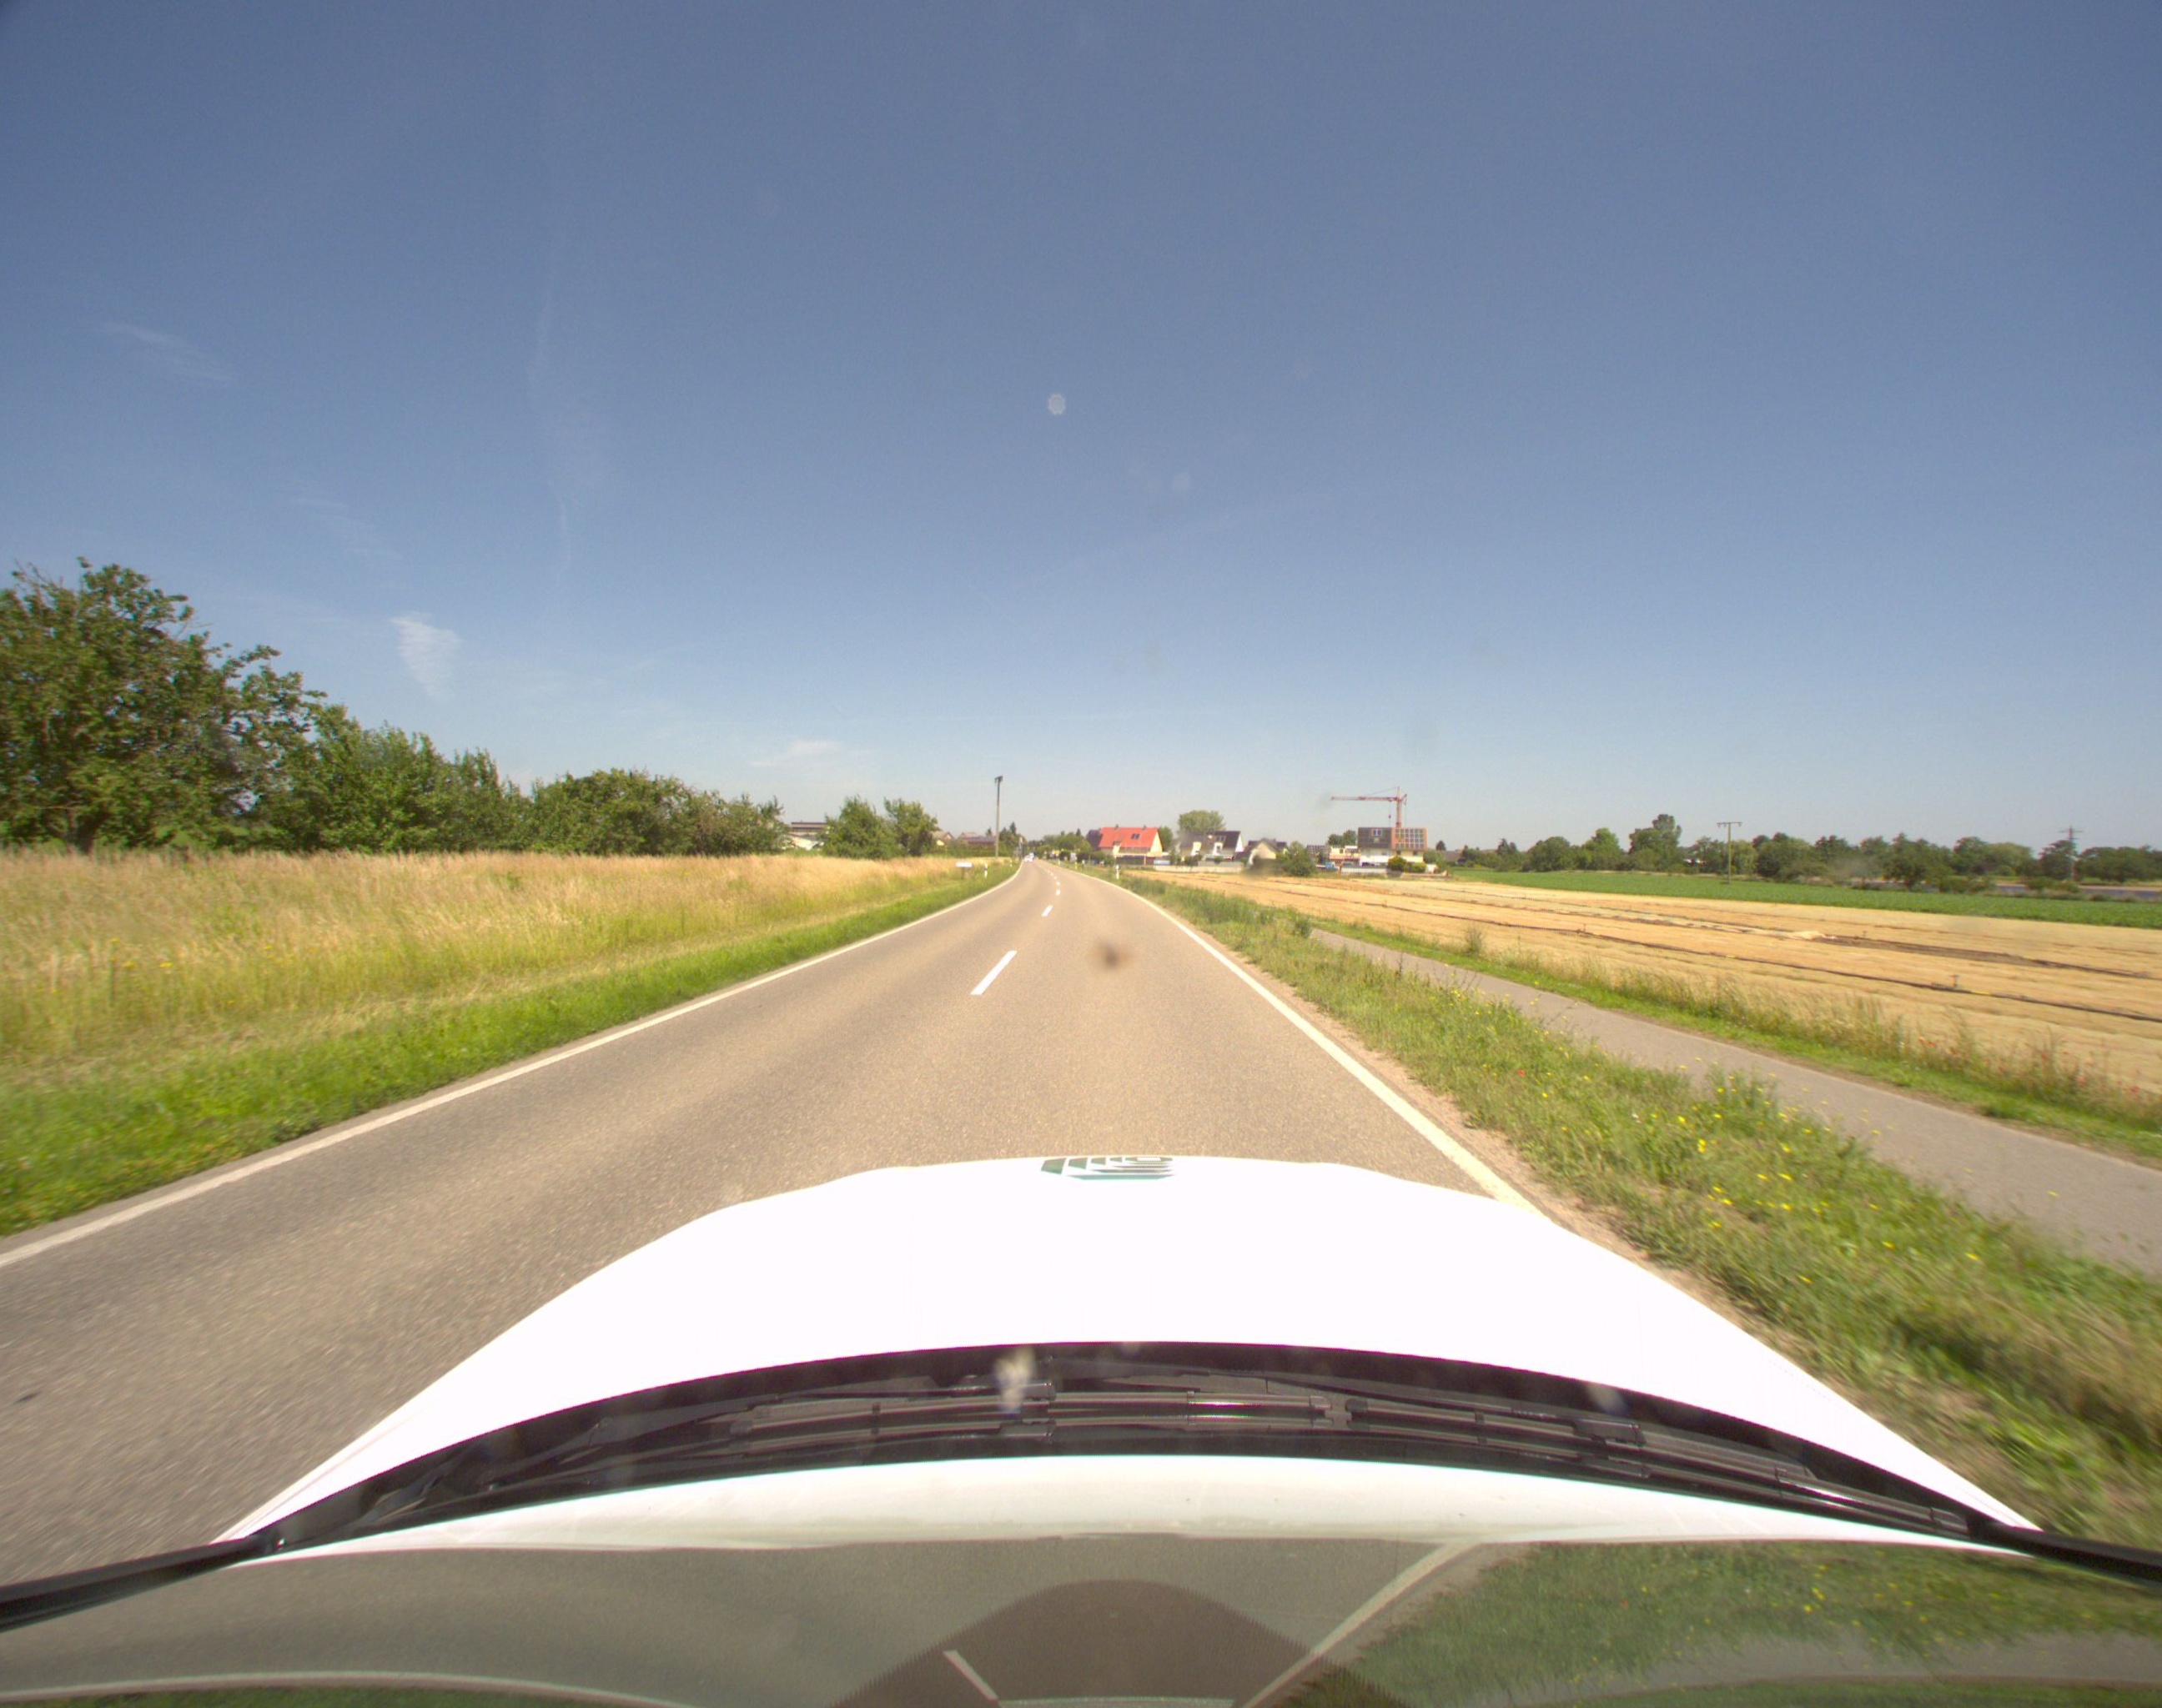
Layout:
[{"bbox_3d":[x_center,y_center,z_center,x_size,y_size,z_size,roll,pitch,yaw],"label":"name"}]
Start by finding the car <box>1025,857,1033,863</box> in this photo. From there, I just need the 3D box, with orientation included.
[{"bbox_3d":[-12.525,1.331,195.327,1.788,1.409,4.179,0,0,-4],"label":"car"}]

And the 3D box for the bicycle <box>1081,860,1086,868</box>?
[{"bbox_3d":[0.450,1.668,134.995,0.609,1.158,2.270,3,1,-5],"label":"bicycle"}]

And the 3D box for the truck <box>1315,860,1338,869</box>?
[{"bbox_3d":[63.366,2.808,210.398,5.507,2.230,2.226,0,-1,20],"label":"truck"}]

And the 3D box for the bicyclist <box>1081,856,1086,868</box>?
[{"bbox_3d":[0.483,1.285,134.829,0.644,1.889,0.859,3,0,-5],"label":"bicyclist"}]
